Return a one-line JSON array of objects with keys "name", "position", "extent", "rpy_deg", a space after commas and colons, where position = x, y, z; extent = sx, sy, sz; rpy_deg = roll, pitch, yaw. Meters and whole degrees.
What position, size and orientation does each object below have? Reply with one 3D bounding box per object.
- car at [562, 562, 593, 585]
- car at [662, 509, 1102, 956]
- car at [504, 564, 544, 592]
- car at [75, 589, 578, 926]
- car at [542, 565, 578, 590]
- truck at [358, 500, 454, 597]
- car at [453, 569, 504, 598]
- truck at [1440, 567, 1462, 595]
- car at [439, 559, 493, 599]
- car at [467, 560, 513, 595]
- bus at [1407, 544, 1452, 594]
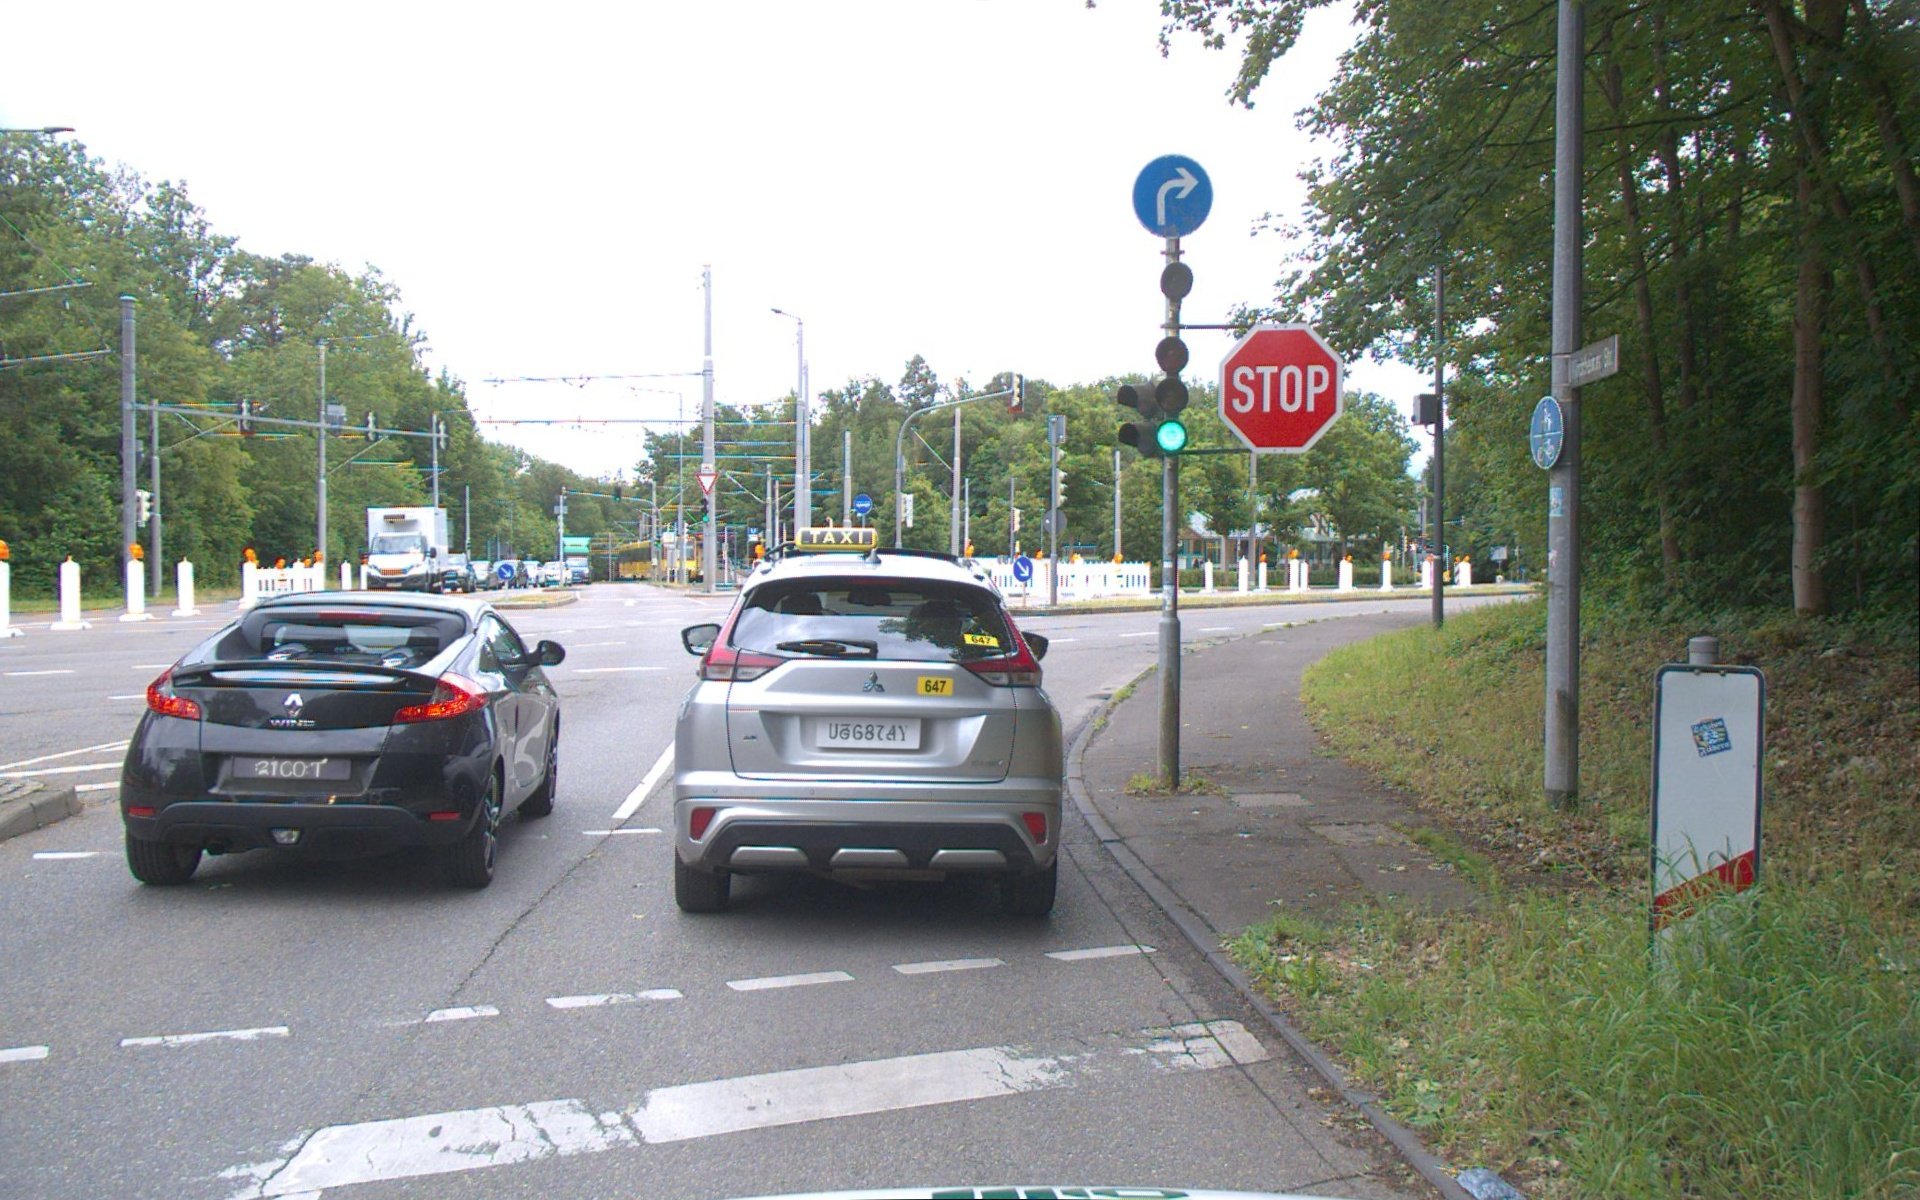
[{"name": "car", "position": [-27.291, -1.905, 118.148], "extent": [1.926, 1.567, 4.301], "rpy_deg": [0, 1, -10]}, {"name": "car", "position": [-0.403, 0.511, 8.595], "extent": [1.738, 1.778, 3.779], "rpy_deg": [2, 1, -3]}, {"name": "car", "position": [-26.066, -1.349, 98.911], "extent": [1.926, 1.635, 4.301], "rpy_deg": [0, 1, -10]}, {"name": "car", "position": [-3.151, 0.666, 8.956], "extent": [1.740, 1.385, 3.471], "rpy_deg": [-1, 1, -7]}, {"name": "car", "position": [-25.292, -1.429, 104.741], "extent": [1.926, 1.568, 4.386], "rpy_deg": [0, 1, -10]}, {"name": "truck", "position": [-20.131, -1.831, 60.425], "extent": [2.405, 3.280, 7.136], "rpy_deg": [-1, 1, -12]}, {"name": "car", "position": [-24.091, -0.869, 82.842], "extent": [1.926, 1.385, 4.680], "rpy_deg": [0, 1, -10]}, {"name": "truck", "position": [59.759, -2.319, 201.370], "extent": [2.431, 3.344, 8.525], "rpy_deg": [0, 1, 16]}, {"name": "car", "position": [-22.360, -0.980, 75.014], "extent": [1.927, 1.780, 4.832], "rpy_deg": [0, 1, -12]}, {"name": "car", "position": [-26.026, -1.260, 91.645], "extent": [1.926, 1.877, 4.680], "rpy_deg": [0, 1, -10]}, {"name": "bus", "position": [36.316, -2.429, 128.313], "extent": [2.761, 3.666, 12.816], "rpy_deg": [0, 1, 13]}]
